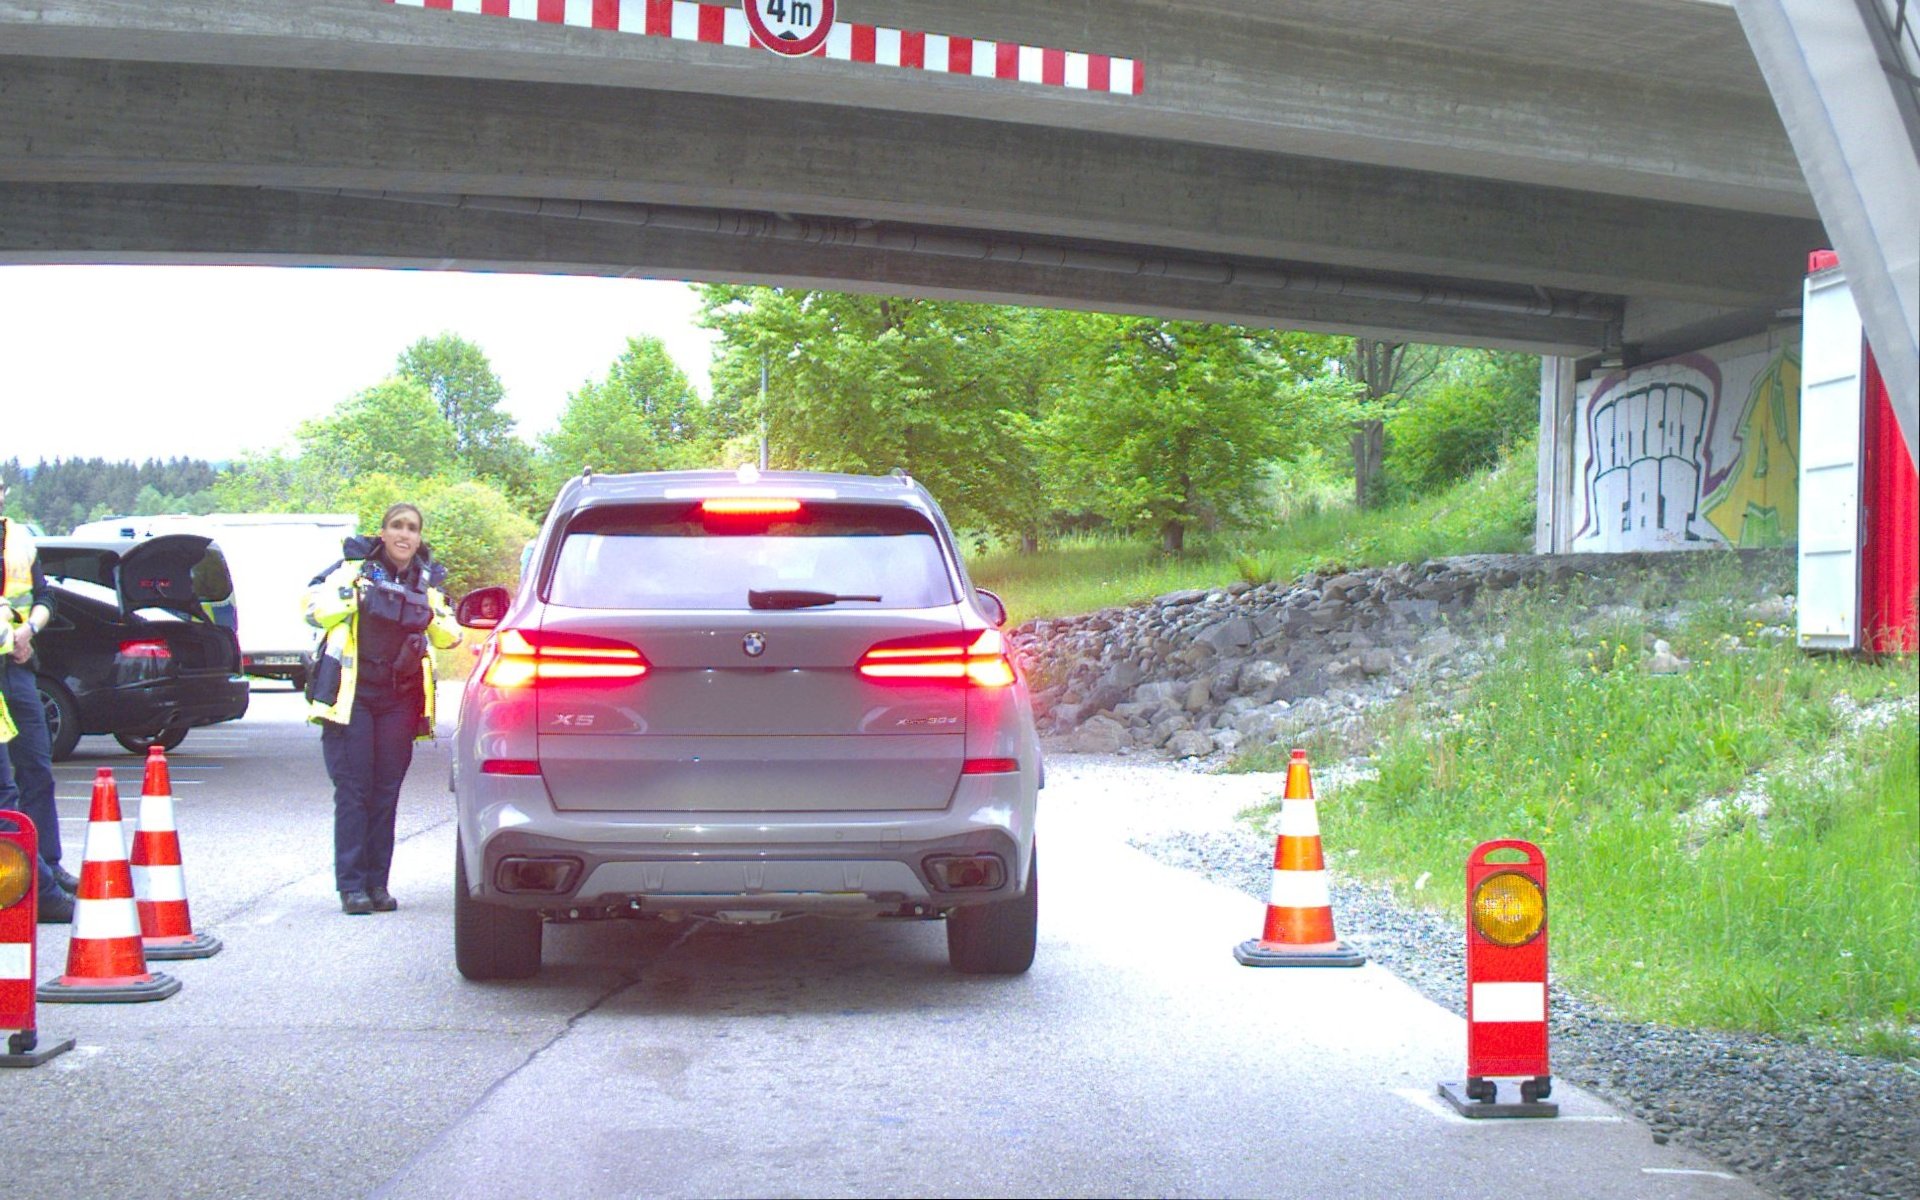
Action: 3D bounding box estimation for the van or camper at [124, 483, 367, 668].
[{"bbox_3d":[-10.668,-0.381,50.901,2.229,2.543,6.612,-1,1,-23],"label":"van or camper"}]

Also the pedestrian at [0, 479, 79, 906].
[{"bbox_3d":[-4.104,0.378,14.437,0.609,1.748,0.666,-1,1,1],"label":"pedestrian"}]

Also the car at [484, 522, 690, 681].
[{"bbox_3d":[-5.774,-0.007,52.778,1.993,2.338,4.001,-1,1,-24],"label":"car"}]

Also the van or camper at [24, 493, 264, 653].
[{"bbox_3d":[-13.513,-0.469,56.686,2.104,2.510,5.551,-1,1,-33],"label":"van or camper"}]

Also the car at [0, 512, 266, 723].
[{"bbox_3d":[-9.527,0.156,34.181,4.809,2.007,1.840,0,1,14],"label":"car"}]

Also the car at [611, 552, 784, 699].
[{"bbox_3d":[-3.322,0.276,42.934,1.993,1.716,3.897,-1,1,-6],"label":"car"}]

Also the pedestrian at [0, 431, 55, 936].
[{"bbox_3d":[-3.958,0.314,13.355,0.749,1.912,0.763,-1,1,-8],"label":"pedestrian"}]

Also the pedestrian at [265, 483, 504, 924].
[{"bbox_3d":[-2.331,0.395,13.887,0.779,1.716,0.757,-1,1,-22],"label":"pedestrian"}]

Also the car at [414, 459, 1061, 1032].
[{"bbox_3d":[-0.784,0.421,12.727,1.993,1.759,4.001,-1,1,-3],"label":"car"}]
